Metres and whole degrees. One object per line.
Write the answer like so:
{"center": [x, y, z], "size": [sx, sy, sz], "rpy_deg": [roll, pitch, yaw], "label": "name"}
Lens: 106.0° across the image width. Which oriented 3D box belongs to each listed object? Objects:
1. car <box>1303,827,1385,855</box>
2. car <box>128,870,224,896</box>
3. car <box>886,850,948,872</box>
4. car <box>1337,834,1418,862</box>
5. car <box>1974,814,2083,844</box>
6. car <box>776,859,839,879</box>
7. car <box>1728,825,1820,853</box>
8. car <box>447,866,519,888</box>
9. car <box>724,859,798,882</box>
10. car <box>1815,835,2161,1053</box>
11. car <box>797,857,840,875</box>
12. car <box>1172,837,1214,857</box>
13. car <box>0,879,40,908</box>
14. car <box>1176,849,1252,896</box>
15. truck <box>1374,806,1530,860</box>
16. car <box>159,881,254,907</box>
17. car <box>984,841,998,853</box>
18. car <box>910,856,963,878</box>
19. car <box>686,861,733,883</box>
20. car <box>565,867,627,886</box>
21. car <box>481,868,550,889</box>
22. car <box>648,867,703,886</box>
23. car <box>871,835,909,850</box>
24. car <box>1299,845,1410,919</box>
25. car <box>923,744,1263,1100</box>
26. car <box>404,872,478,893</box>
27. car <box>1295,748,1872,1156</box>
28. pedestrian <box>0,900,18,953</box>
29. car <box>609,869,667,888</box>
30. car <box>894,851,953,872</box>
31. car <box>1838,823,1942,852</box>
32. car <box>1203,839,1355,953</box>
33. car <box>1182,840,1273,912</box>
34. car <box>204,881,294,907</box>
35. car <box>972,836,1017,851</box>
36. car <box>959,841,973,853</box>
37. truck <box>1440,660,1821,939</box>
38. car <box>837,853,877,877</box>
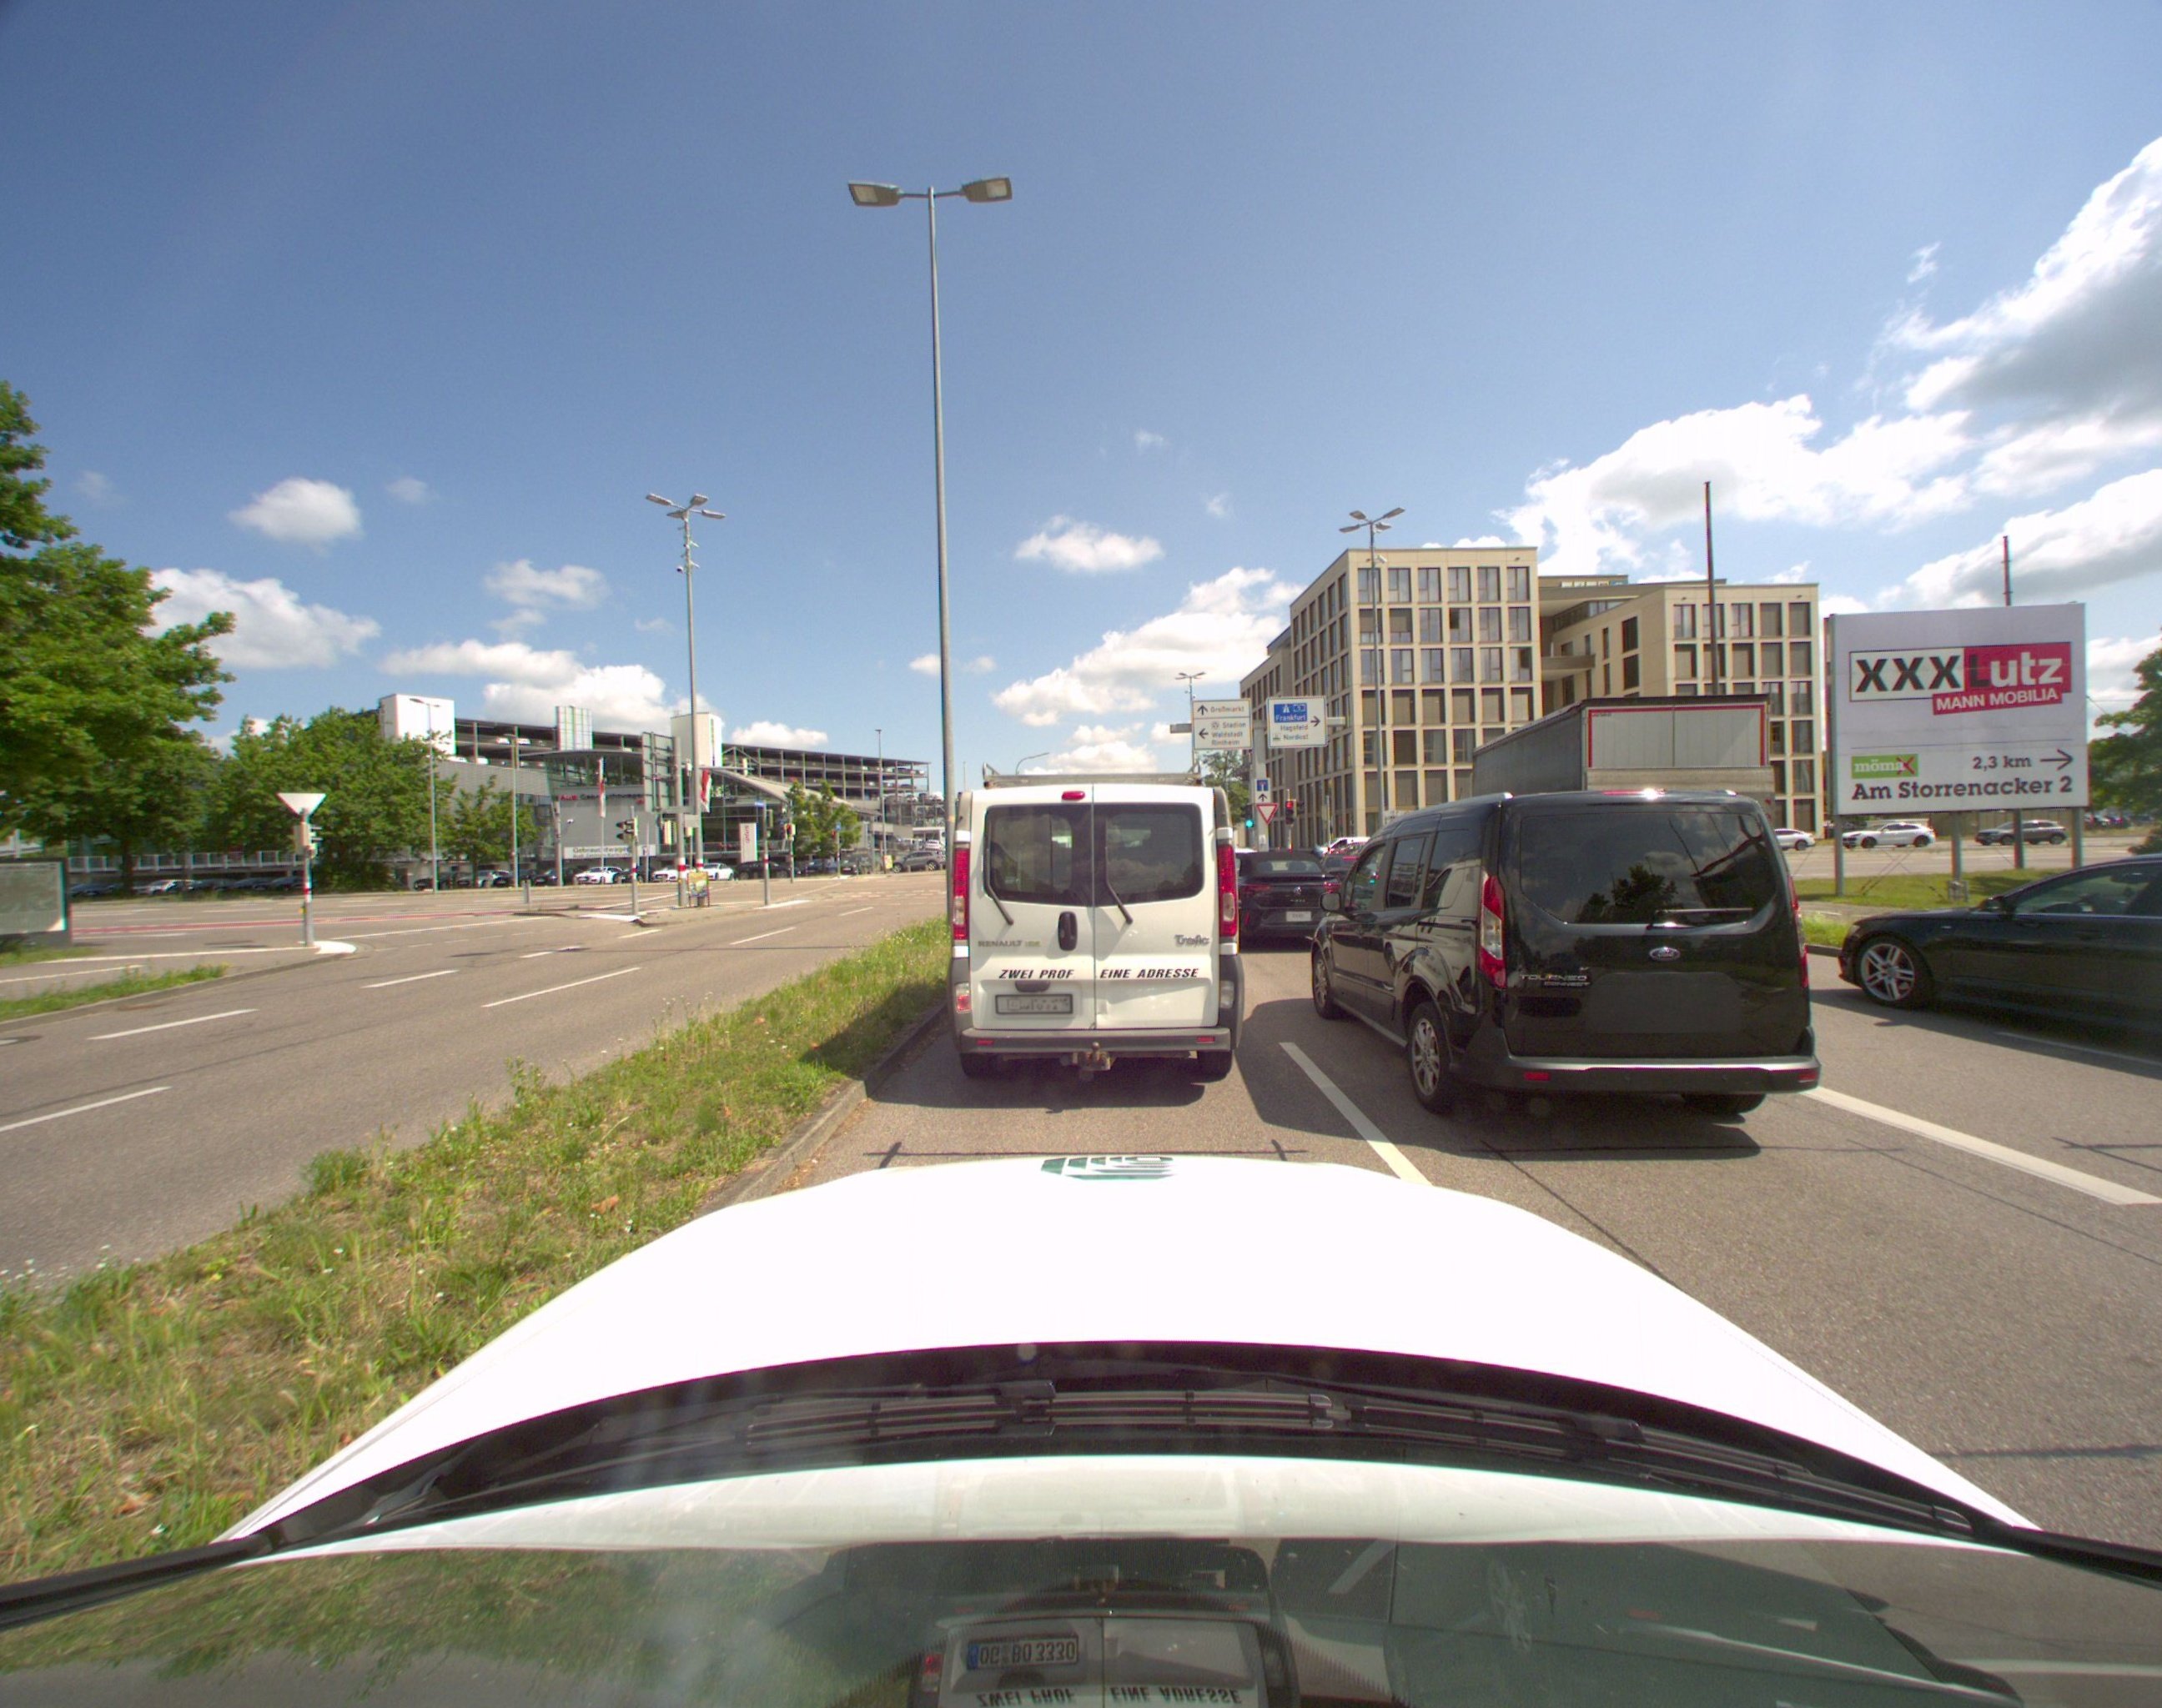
{"center": [17.868, -0.865, 55.407], "size": [4.969, 1.838, 1.996], "rpy_deg": [0, -1, -6], "label": "car"}
{"center": [-64.689, 2.046, 58.336], "size": [1.896, 1.678, 4.585], "rpy_deg": [0, -1, -3], "label": "car"}
{"center": [-13.114, 0.563, 65.289], "size": [4.562, 1.678, 1.906], "rpy_deg": [0, -1, -2], "label": "car"}
{"center": [17.730, -0.374, 48.729], "size": [4.192, 1.627, 1.824], "rpy_deg": [0, -1, -6], "label": "car"}
{"center": [61.485, -1.619, 52.907], "size": [4.401, 1.838, 1.834], "rpy_deg": [-1, -1, 12], "label": "car"}
{"center": [-23.572, 1.308, 70.209], "size": [4.731, 1.511, 1.982], "rpy_deg": [-2, -3, -4], "label": "car"}
{"center": [47.256, -0.990, 55.622], "size": [4.692, 1.838, 1.829], "rpy_deg": [0, -1, 1], "label": "car"}
{"center": [-43.273, 1.690, 59.040], "size": [1.896, 1.405, 4.584], "rpy_deg": [0, -3, -3], "label": "car"}
{"center": [-23.804, 1.233, 60.680], "size": [4.731, 1.464, 1.793], "rpy_deg": [-2, -3, -4], "label": "car"}
{"center": [8.241, 0.596, 5.896], "size": [1.767, 1.478, 4.682], "rpy_deg": [-1, 0, 2], "label": "car"}
{"center": [-19.462, 0.897, 60.577], "size": [1.896, 1.297, 4.585], "rpy_deg": [0, 0, -3], "label": "car"}
{"center": [11.771, -0.705, 85.581], "size": [3.982, 2.014, 1.996], "rpy_deg": [0, -1, -7], "label": "car"}
{"center": [-77.846, 2.840, 57.877], "size": [1.896, 2.049, 4.585], "rpy_deg": [0, -1, -3], "label": "car"}
{"center": [4.366, 0.583, 27.248], "size": [1.849, 1.442, 3.998], "rpy_deg": [0, -1, -1], "label": "car"}
{"center": [25.337, -1.412, 55.772], "size": [9.737, 3.555, 2.670], "rpy_deg": [0, -1, -6], "label": "truck"}
{"center": [-62.419, 2.811, 58.241], "size": [1.896, 1.678, 4.585], "rpy_deg": [0, -1, -3], "label": "car"}
{"center": [-12.064, -0.920, 109.052], "size": [1.557, 1.552, 3.598], "rpy_deg": [-1, 0, -3], "label": "car"}
{"center": [-13.429, 1.217, 76.035], "size": [4.562, 1.677, 1.906], "rpy_deg": [-3, 2, -2], "label": "car"}
{"center": [-27.251, 1.345, 59.886], "size": [1.786, 1.464, 3.995], "rpy_deg": [-2, -3, -3], "label": "car"}
{"center": [-35.307, 1.614, 59.443], "size": [1.896, 1.297, 4.585], "rpy_deg": [0, 0, -3], "label": "car"}
{"center": [-40.725, 1.787, 58.761], "size": [1.896, 1.384, 4.584], "rpy_deg": [0, -2, -3], "label": "car"}
{"center": [-29.800, 1.605, 59.958], "size": [1.896, 1.297, 4.585], "rpy_deg": [0, 0, -3], "label": "car"}
{"center": [-24.478, -1.470, 104.385], "size": [4.432, 1.801, 1.762], "rpy_deg": [0, -1, -4], "label": "car"}
{"center": [6.790, 0.809, 20.691], "size": [1.849, 1.656, 4.225], "rpy_deg": [-1, -5, 7], "label": "car"}
{"center": [0.141, 0.396, 7.070], "size": [1.965, 2.060, 4.566], "rpy_deg": [-1, 0, 2], "label": "car"}
{"center": [-46.189, 2.052, 58.916], "size": [1.896, 1.405, 4.585], "rpy_deg": [0, -2, -3], "label": "car"}
{"center": [2.894, 0.467, 5.856], "size": [1.816, 1.905, 4.003], "rpy_deg": [-1, 0, 3], "label": "car"}
{"center": [-32.563, 2.173, 24.369], "size": [0.756, 1.555, 0.504], "rpy_deg": [-2, 0, -3], "label": "pedestrian"}
{"center": [-32.362, 1.768, 59.712], "size": [1.896, 1.297, 4.585], "rpy_deg": [0, 0, -3], "label": "car"}
{"center": [-13.145, 0.652, 68.009], "size": [4.562, 1.678, 1.906], "rpy_deg": [0, -1, -2], "label": "car"}
{"center": [54.029, -1.082, 54.471], "size": [4.667, 1.838, 1.834], "rpy_deg": [-1, -1, 12], "label": "car"}
{"center": [3.167, 0.609, 13.795], "size": [1.766, 1.629, 4.003], "rpy_deg": [-1, 0, 3], "label": "car"}
{"center": [3.614, 0.502, 20.674], "size": [1.766, 1.629, 4.003], "rpy_deg": [-1, 0, 3], "label": "car"}
{"center": [-60.067, 2.865, 58.900], "size": [1.896, 1.678, 4.585], "rpy_deg": [0, -1, -3], "label": "car"}
{"center": [-12.339, -1.540, 116.498], "size": [6.373, 2.102, 1.763], "rpy_deg": [0, -1, -4], "label": "car"}
{"center": [-15.401, -0.912, 109.585], "size": [1.557, 1.552, 3.598], "rpy_deg": [0, -1, -3], "label": "car"}
{"center": [9.993, -0.747, 16.483], "size": [3.191, 4.027, 9.100], "rpy_deg": [-1, -1, 12], "label": "truck"}
{"center": [-16.607, 0.788, 60.685], "size": [1.896, 1.678, 4.585], "rpy_deg": [0, -1, -3], "label": "car"}
